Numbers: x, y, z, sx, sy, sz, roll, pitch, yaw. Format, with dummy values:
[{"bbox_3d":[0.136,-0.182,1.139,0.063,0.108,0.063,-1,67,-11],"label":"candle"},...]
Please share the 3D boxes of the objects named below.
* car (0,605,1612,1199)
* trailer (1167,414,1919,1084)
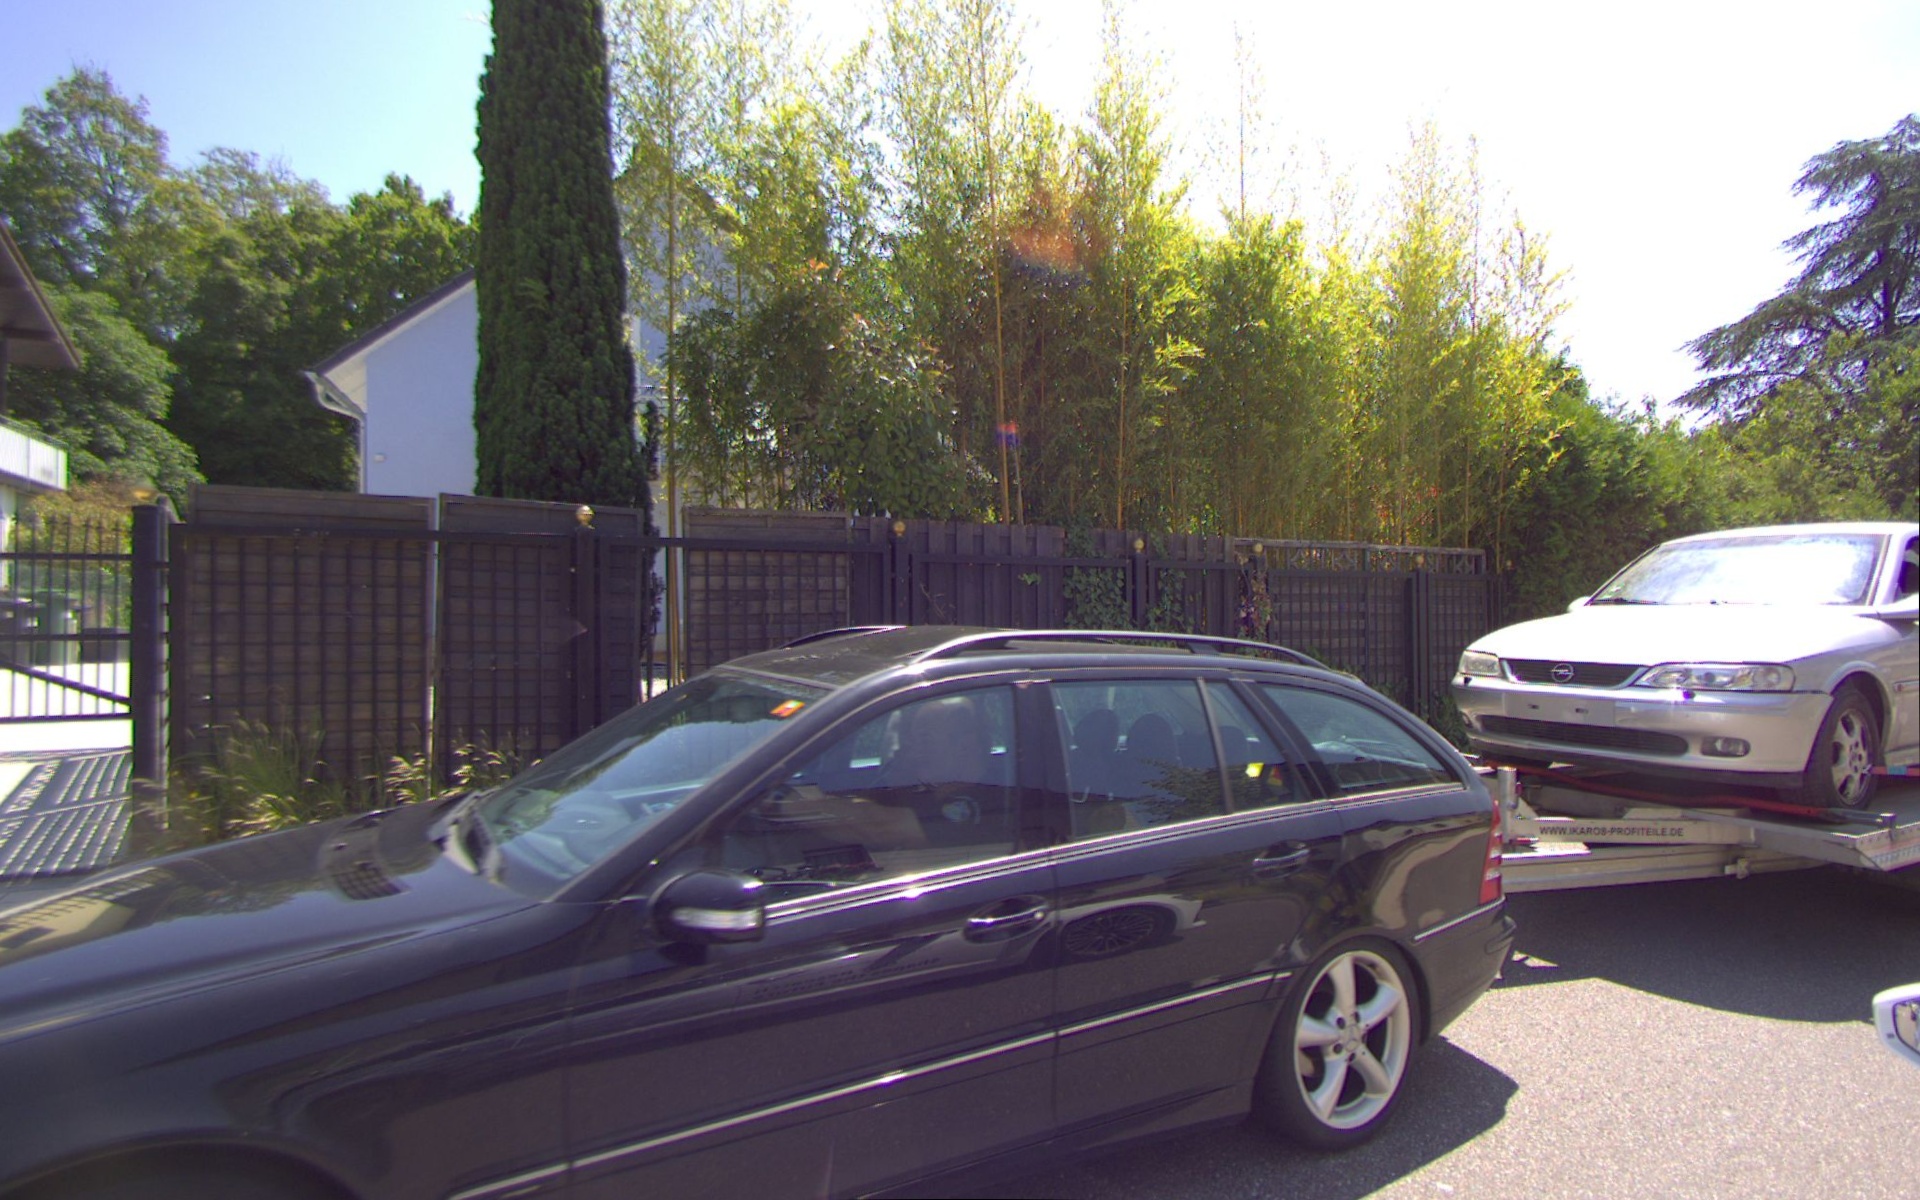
[{"bbox_3d":[-0.147,0.764,2.994,4.196,1.421,1.759,1,0,-29],"label":"car"},{"bbox_3d":[4.212,0.531,5.464,6.126,2.013,2.146,2,0,-29],"label":"trailer"}]
